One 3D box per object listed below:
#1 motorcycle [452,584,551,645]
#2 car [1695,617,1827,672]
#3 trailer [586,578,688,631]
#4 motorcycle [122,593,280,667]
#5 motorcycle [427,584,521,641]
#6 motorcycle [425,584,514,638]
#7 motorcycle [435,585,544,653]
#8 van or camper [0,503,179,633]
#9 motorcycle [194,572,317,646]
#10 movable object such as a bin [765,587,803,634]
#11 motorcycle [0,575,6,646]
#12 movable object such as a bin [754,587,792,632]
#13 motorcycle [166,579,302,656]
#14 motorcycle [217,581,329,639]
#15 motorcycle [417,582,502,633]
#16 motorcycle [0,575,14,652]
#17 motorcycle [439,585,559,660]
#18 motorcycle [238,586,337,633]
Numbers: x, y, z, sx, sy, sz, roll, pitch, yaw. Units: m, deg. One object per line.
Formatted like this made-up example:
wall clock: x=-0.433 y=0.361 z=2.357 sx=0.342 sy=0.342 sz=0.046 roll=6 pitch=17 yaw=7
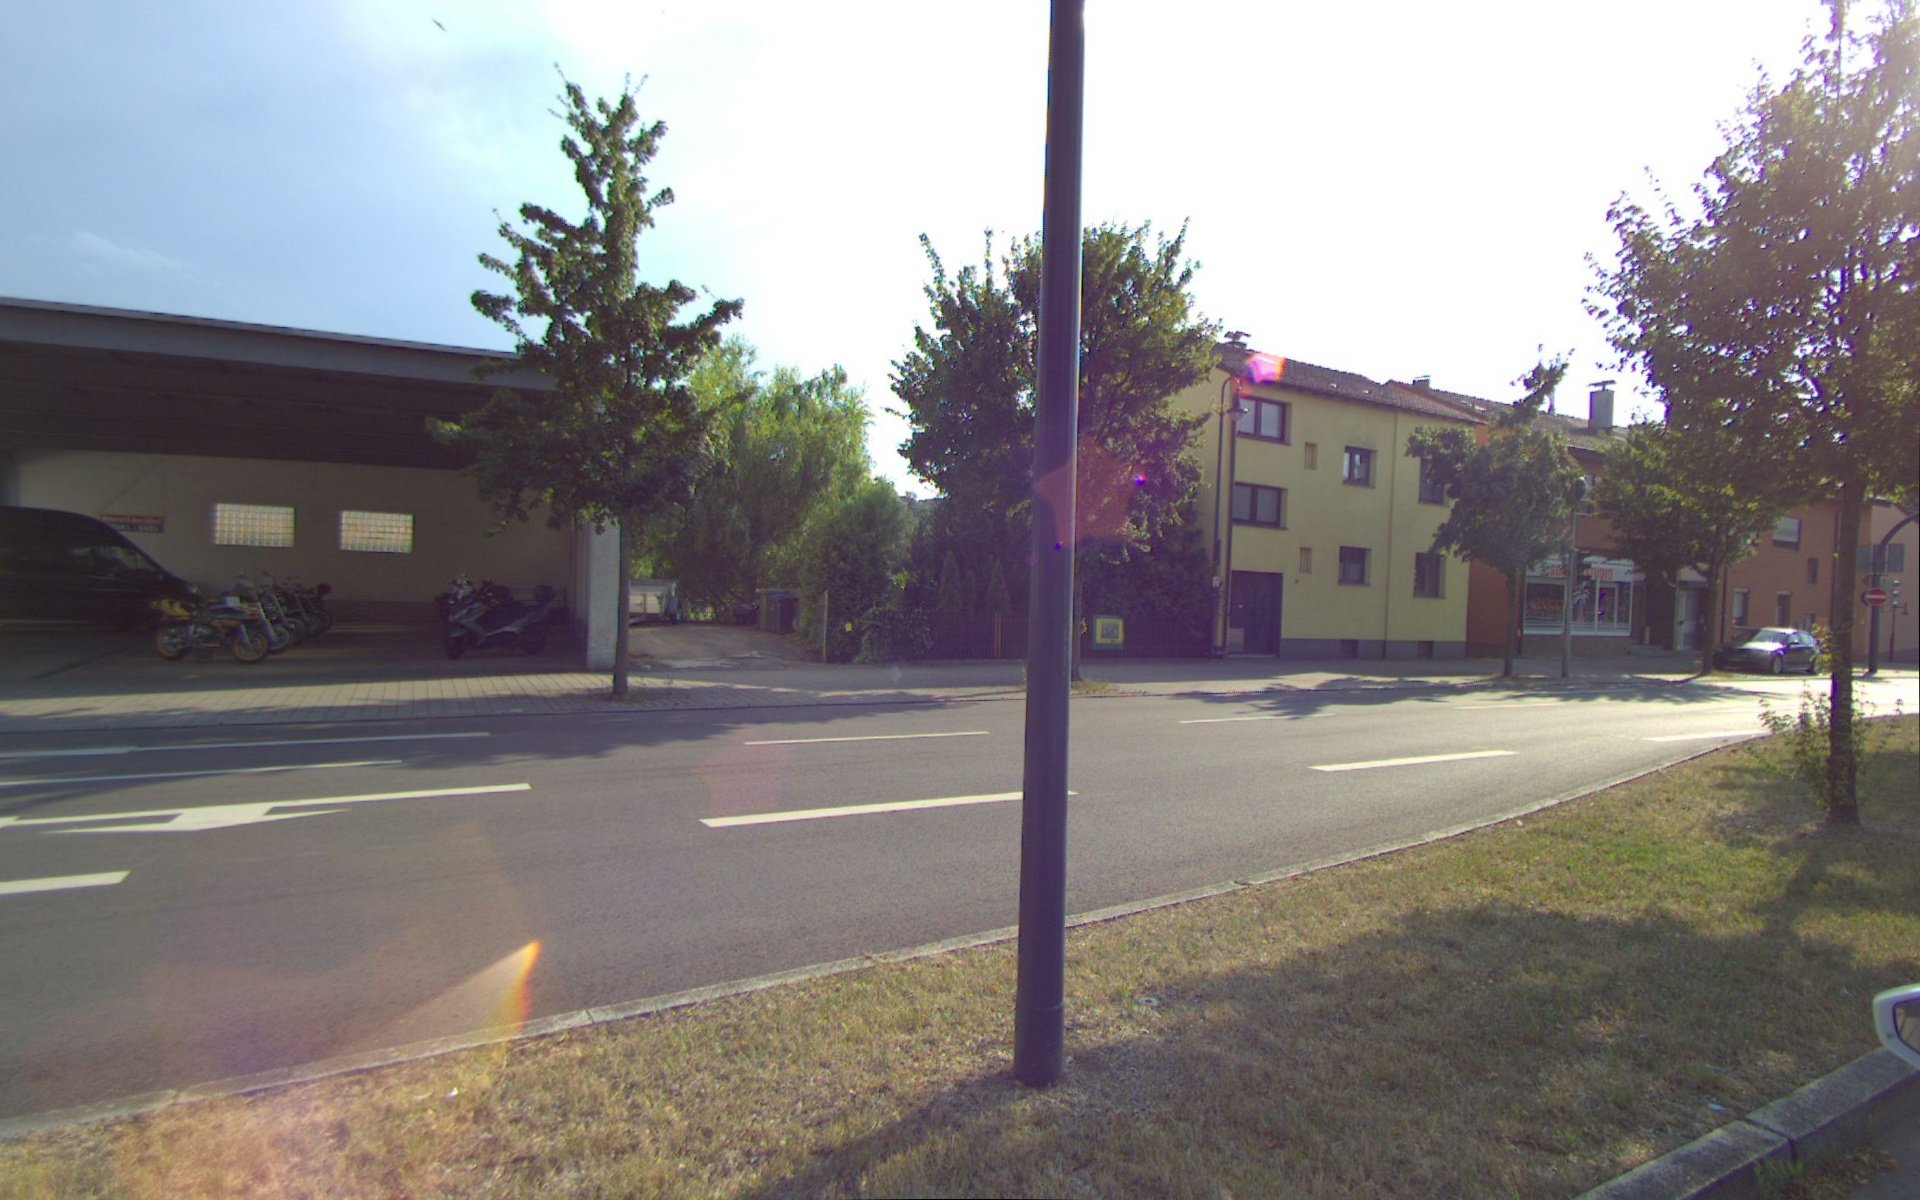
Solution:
motorcycle: x=-10.483 y=0.337 z=23.044 sx=0.612 sy=1.325 sz=2.086 roll=1 pitch=0 yaw=30
car: x=26.005 y=1.437 z=32.599 sx=3.949 sy=1.573 sz=1.836 roll=1 pitch=2 yaw=-27
trailer: x=-8.119 y=0.067 z=25.522 sx=1.692 sy=1.199 sz=3.594 roll=1 pitch=1 yaw=-5
motorcycle: x=-12.514 y=0.489 z=16.594 sx=2.111 sy=1.139 sz=0.631 roll=1 pitch=0 yaw=0
motorcycle: x=-11.806 y=0.311 z=24.456 sx=0.573 sy=1.325 sz=2.086 roll=1 pitch=0 yaw=30
motorcycle: x=-12.573 y=0.272 z=25.798 sx=0.553 sy=1.325 sz=2.086 roll=1 pitch=0 yaw=30
motorcycle: x=-9.701 y=0.393 z=20.795 sx=0.553 sy=1.325 sz=2.086 roll=1 pitch=0 yaw=30
van or camper: x=-20.540 y=-0.675 z=21.996 sx=1.963 sy=2.716 sz=5.032 roll=1 pitch=0 yaw=27
motorcycle: x=-14.715 y=0.189 z=21.005 sx=2.111 sy=1.468 sz=0.594 roll=1 pitch=0 yaw=0
movable object such as a bin: x=-4.345 y=0.267 z=24.815 sx=0.688 sy=1.101 sz=0.727 roll=1 pitch=3 yaw=-30
motorcycle: x=-18.641 y=0.186 z=18.095 sx=0.637 sy=1.329 sz=2.007 roll=1 pitch=0 yaw=23
movable object such as a bin: x=-4.759 y=0.242 z=25.540 sx=0.712 sy=1.101 sz=0.727 roll=1 pitch=3 yaw=-30
motorcycle: x=-13.551 y=0.323 z=18.773 sx=2.111 sy=1.347 sz=0.563 roll=1 pitch=0 yaw=0
motorcycle: x=-15.836 y=0.224 z=23.175 sx=2.111 sy=1.275 sz=0.647 roll=1 pitch=0 yaw=0
motorcycle: x=-13.514 y=0.207 z=27.166 sx=0.553 sy=1.325 sz=2.086 roll=1 pitch=0 yaw=30
motorcycle: x=-17.246 y=0.219 z=16.767 sx=0.637 sy=1.329 sz=2.007 roll=1 pitch=0 yaw=23
motorcycle: x=-8.633 y=0.417 z=18.916 sx=0.553 sy=1.325 sz=2.112 roll=1 pitch=0 yaw=30
motorcycle: x=-17.073 y=0.236 z=25.523 sx=2.111 sy=1.138 sz=0.563 roll=1 pitch=0 yaw=0
